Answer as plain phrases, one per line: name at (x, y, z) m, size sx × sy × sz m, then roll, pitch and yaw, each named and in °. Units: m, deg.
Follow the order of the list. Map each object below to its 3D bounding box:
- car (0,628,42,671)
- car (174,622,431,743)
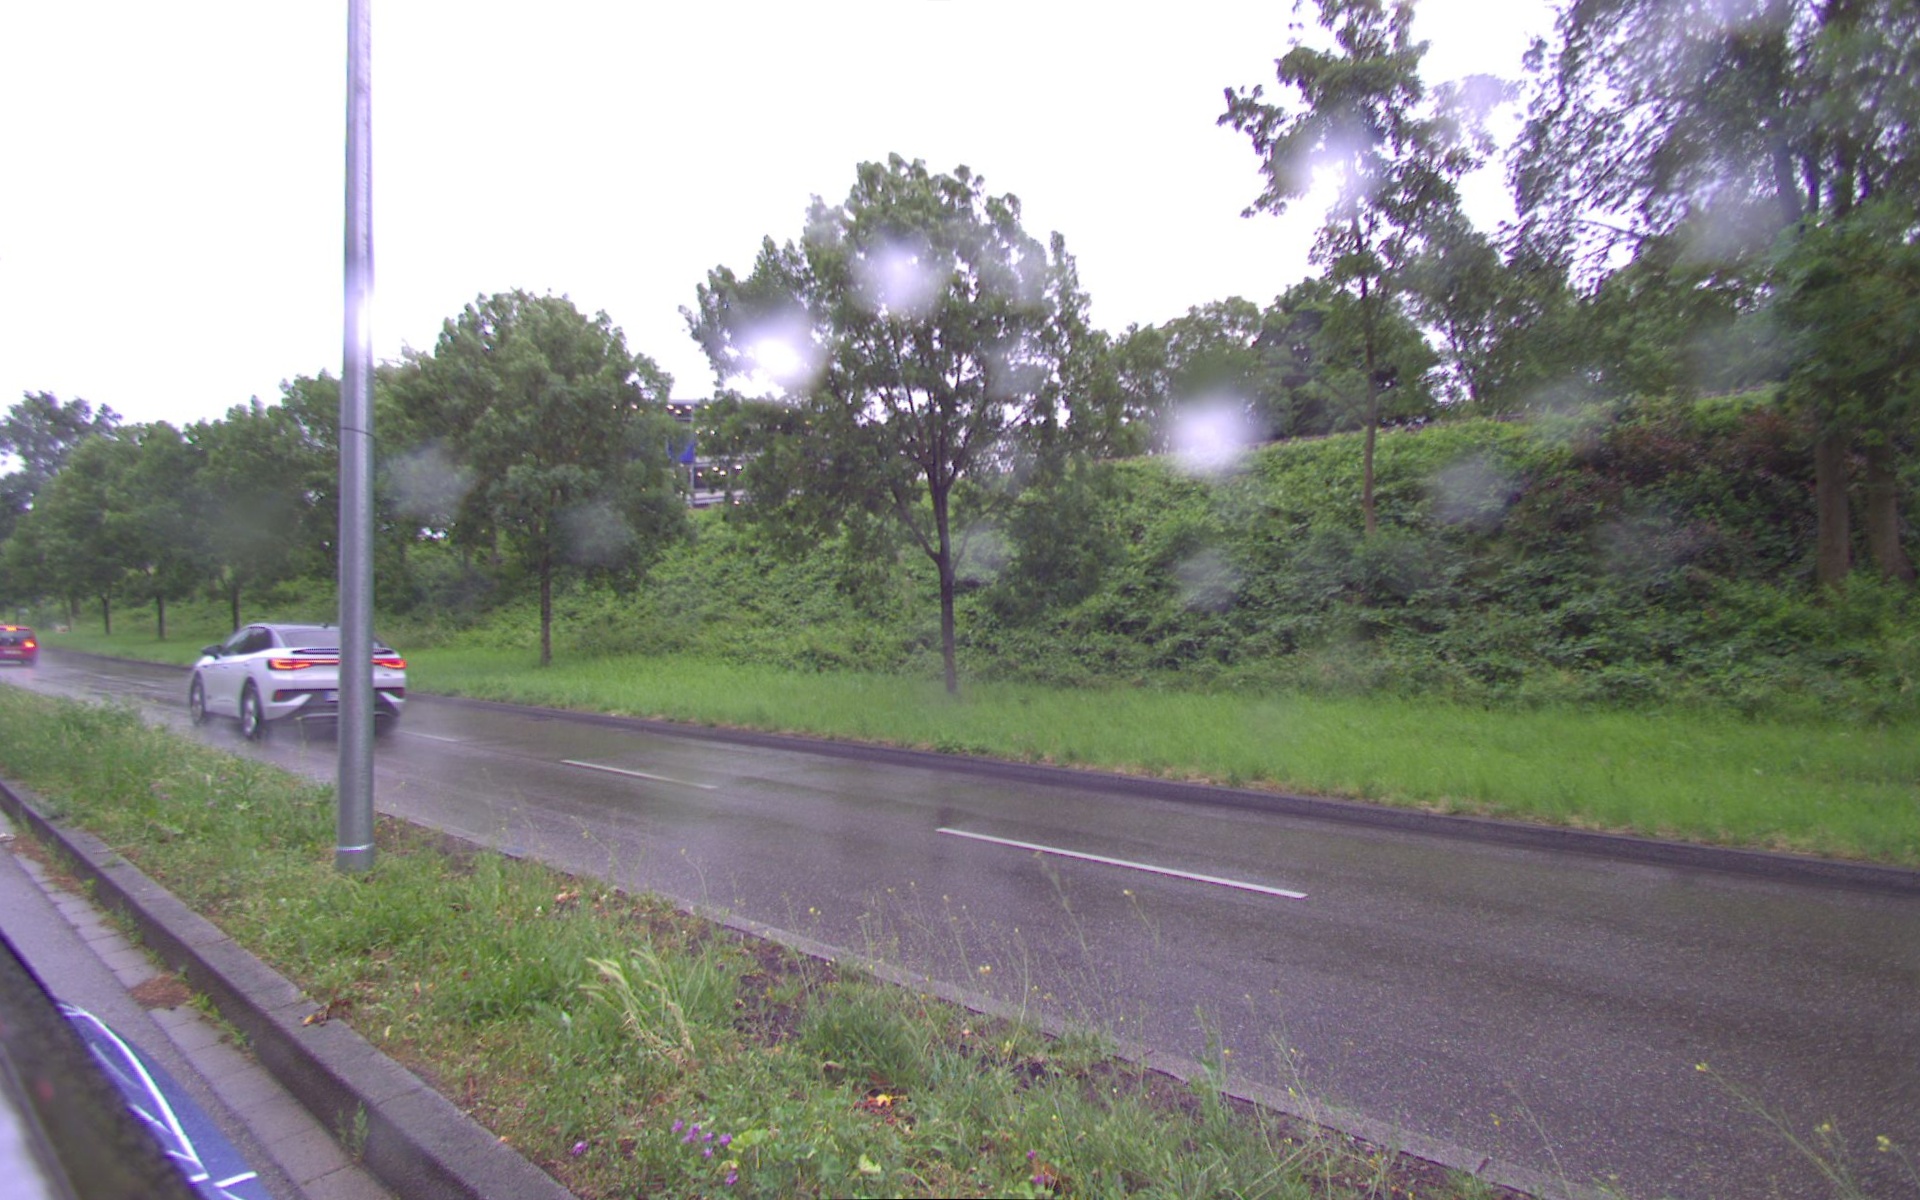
car at (-35.949, 1.844, 38.059) m, size 3.613 × 1.525 × 1.697 m, roll -2°, pitch -4°, yaw 42°
car at (-9.808, 1.148, 14.978) m, size 4.330 × 1.537 × 1.943 m, roll -2°, pitch -4°, yaw 39°
